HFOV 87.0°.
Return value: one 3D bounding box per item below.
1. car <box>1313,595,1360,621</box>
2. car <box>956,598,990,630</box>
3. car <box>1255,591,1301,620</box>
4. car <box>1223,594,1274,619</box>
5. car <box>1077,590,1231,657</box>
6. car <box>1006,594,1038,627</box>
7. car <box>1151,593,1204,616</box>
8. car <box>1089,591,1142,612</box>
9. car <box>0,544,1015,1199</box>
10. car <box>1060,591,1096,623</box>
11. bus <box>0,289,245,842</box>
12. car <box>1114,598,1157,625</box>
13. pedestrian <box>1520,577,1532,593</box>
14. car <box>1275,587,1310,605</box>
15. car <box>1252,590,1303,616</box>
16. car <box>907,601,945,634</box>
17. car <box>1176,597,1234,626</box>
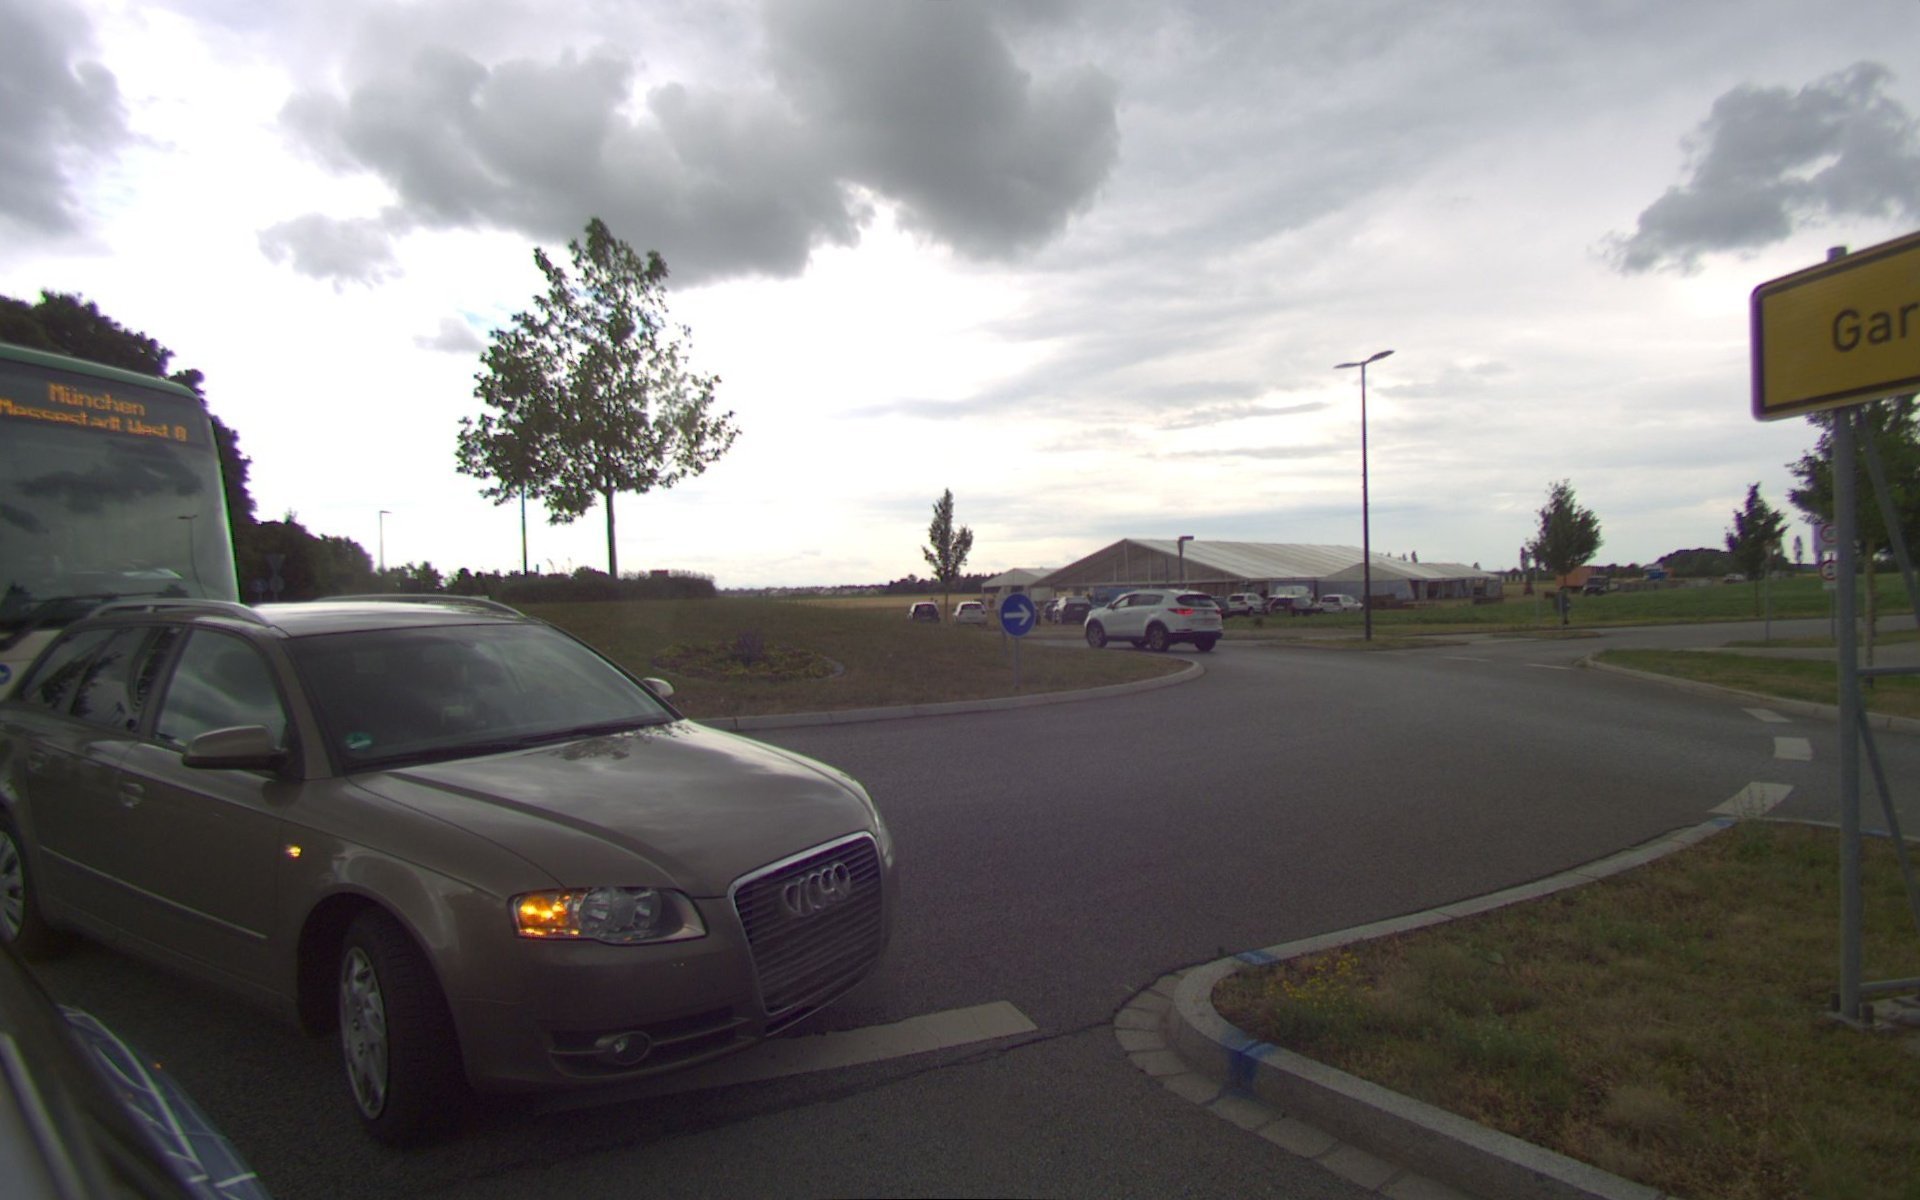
[{"bbox_3d":[24.194,0.494,65.046,1.729,1.565,3.950,-1,0,37],"label":"car"},{"bbox_3d":[0.767,0.766,57.484,1.694,1.564,3.996,-3,2,4],"label":"car"},{"bbox_3d":[19.085,0.316,60.885,1.613,1.618,3.875,-1,0,1],"label":"car"},{"bbox_3d":[19.660,0.428,68.829,1.835,1.618,3.776,-1,0,42],"label":"car"},{"bbox_3d":[5.225,0.604,27.913,1.685,1.638,4.464,-2,0,-28],"label":"car"},{"bbox_3d":[3.540,0.583,57.558,1.694,1.564,3.996,-3,2,4],"label":"car"},{"bbox_3d":[15.301,0.324,71.027,1.951,1.453,3.945,-1,0,41],"label":"car"},{"bbox_3d":[11.955,0.102,77.712,3.940,1.453,1.954,-2,0,-43],"label":"car"},{"bbox_3d":[-2.200,0.671,3.933,4.524,1.476,1.765,-1,-1,31],"label":"car"},{"bbox_3d":[6.688,0.375,57.644,1.694,1.564,3.996,-3,2,4],"label":"car"},{"bbox_3d":[-8.882,-0.195,6.871,6.464,3.283,2.522,0,0,4],"label":"bus"},{"bbox_3d":[10.023,0.630,58.034,1.926,1.453,3.996,-1,0,3],"label":"car"},{"bbox_3d":[71.583,-1.885,127.922,1.045,2.029,1.052,-2,1,-44],"label":"pedestrian"},{"bbox_3d":[32.417,-0.369,98.558,1.835,1.618,3.776,-1,1,42],"label":"car"},{"bbox_3d":[21.085,0.202,67.103,1.835,1.618,3.776,-1,0,42],"label":"car"},{"bbox_3d":[-1.882,0.949,57.146,1.694,1.564,3.996,-3,2,4],"label":"car"},{"bbox_3d":[14.769,0.679,61.285,1.705,1.618,3.887,-2,0,-15],"label":"car"}]
